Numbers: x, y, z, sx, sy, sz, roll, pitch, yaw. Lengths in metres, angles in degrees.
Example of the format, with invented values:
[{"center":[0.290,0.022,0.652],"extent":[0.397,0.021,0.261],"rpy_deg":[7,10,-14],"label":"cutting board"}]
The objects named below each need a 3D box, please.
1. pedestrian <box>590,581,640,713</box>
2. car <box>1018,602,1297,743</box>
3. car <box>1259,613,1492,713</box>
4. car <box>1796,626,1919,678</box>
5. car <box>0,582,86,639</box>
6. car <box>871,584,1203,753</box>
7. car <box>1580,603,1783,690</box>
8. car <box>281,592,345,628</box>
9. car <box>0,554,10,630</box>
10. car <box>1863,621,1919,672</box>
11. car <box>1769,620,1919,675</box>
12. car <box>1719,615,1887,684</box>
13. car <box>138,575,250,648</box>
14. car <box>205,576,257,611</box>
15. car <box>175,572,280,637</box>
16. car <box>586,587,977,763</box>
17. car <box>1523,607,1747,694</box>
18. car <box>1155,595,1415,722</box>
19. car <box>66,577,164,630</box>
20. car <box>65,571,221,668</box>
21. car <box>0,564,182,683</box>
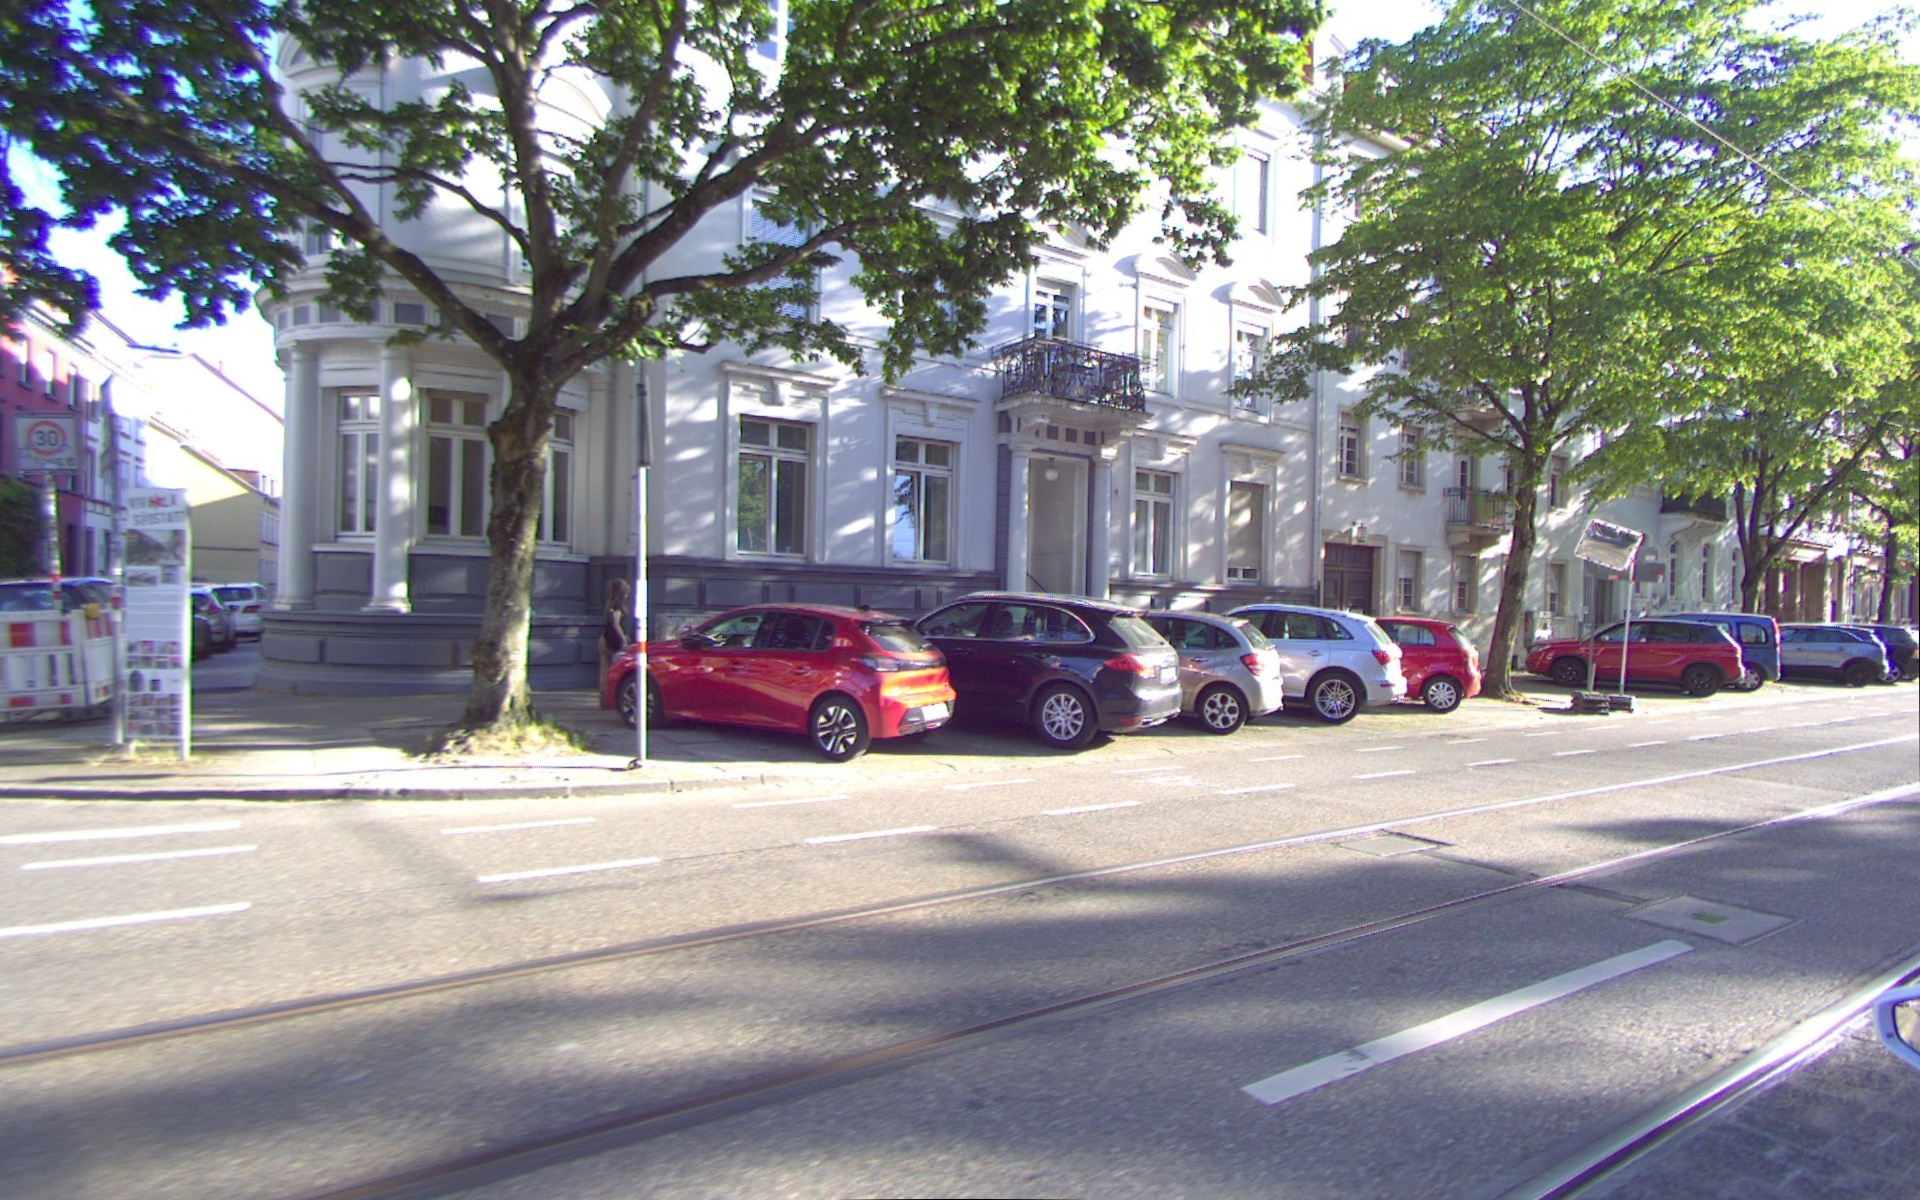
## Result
[{"center":[-4.255,0.570,12.382],"extent":[0.506,1.593,0.343],"rpy_deg":[1,0,-29],"label":"pedestrian"},{"center":[2.756,0.912,13.955],"extent":[3.498,1.684,1.737],"rpy_deg":[1,0,24],"label":"car"},{"center":[7.197,1.041,17.615],"extent":[3.614,1.548,1.483],"rpy_deg":[1,0,22],"label":"car"},{"center":[28.180,1.591,31.221],"extent":[3.228,1.504,1.465],"rpy_deg":[1,0,35],"label":"car"},{"center":[-25.230,0.249,26.910],"extent":[1.729,1.439,3.973],"rpy_deg":[1,0,-26],"label":"car"},{"center":[0.931,0.723,11.974],"extent":[3.614,1.744,1.611],"rpy_deg":[1,0,22],"label":"car"},{"center":[17.658,1.089,24.812],"extent":[3.769,1.856,1.730],"rpy_deg":[3,1,27],"label":"car"},{"center":[-26.348,0.381,41.008],"extent":[1.715,1.372,3.973],"rpy_deg":[1,0,-27],"label":"car"},{"center":[-22.805,-0.200,22.223],"extent":[1.587,1.795,3.969],"rpy_deg":[1,0,-29],"label":"car"},{"center":[34.053,1.653,35.313],"extent":[3.228,1.721,1.465],"rpy_deg":[1,0,35],"label":"car"},{"center":[26.079,1.371,29.530],"extent":[3.323,1.438,1.403],"rpy_deg":[1,0,29],"label":"car"},{"center":[23.401,1.340,28.022],"extent":[3.323,1.720,1.403],"rpy_deg":[1,0,29],"label":"car"},{"center":[-17.072,0.251,22.509],"extent":[1.507,1.517,3.295],"rpy_deg":[1,0,-29],"label":"car"},{"center":[-39.001,-0.349,53.809],"extent":[1.717,1.773,3.969],"rpy_deg":[1,0,-29],"label":"car"},{"center":[-19.890,0.119,27.436],"extent":[1.780,1.639,3.970],"rpy_deg":[1,0,-29],"label":"car"},{"center":[-1.931,0.698,10.823],"extent":[3.839,1.472,1.637],"rpy_deg":[3,0,24],"label":"car"},{"center":[15.225,1.091,22.948],"extent":[4.099,1.743,1.581],"rpy_deg":[2,0,30],"label":"car"},{"center":[4.985,0.827,15.513],"extent":[3.614,1.744,1.611],"rpy_deg":[1,0,22],"label":"car"},{"center":[-30.118,0.130,35.924],"extent":[1.715,1.773,3.973],"rpy_deg":[1,0,-26],"label":"car"},{"center":[-14.631,0.329,18.176],"extent":[1.457,1.569,3.743],"rpy_deg":[1,-1,-28],"label":"car"},{"center":[-12.079,0.297,13.942],"extent":[1.457,1.462,3.226],"rpy_deg":[1,-1,-28],"label":"car"}]
